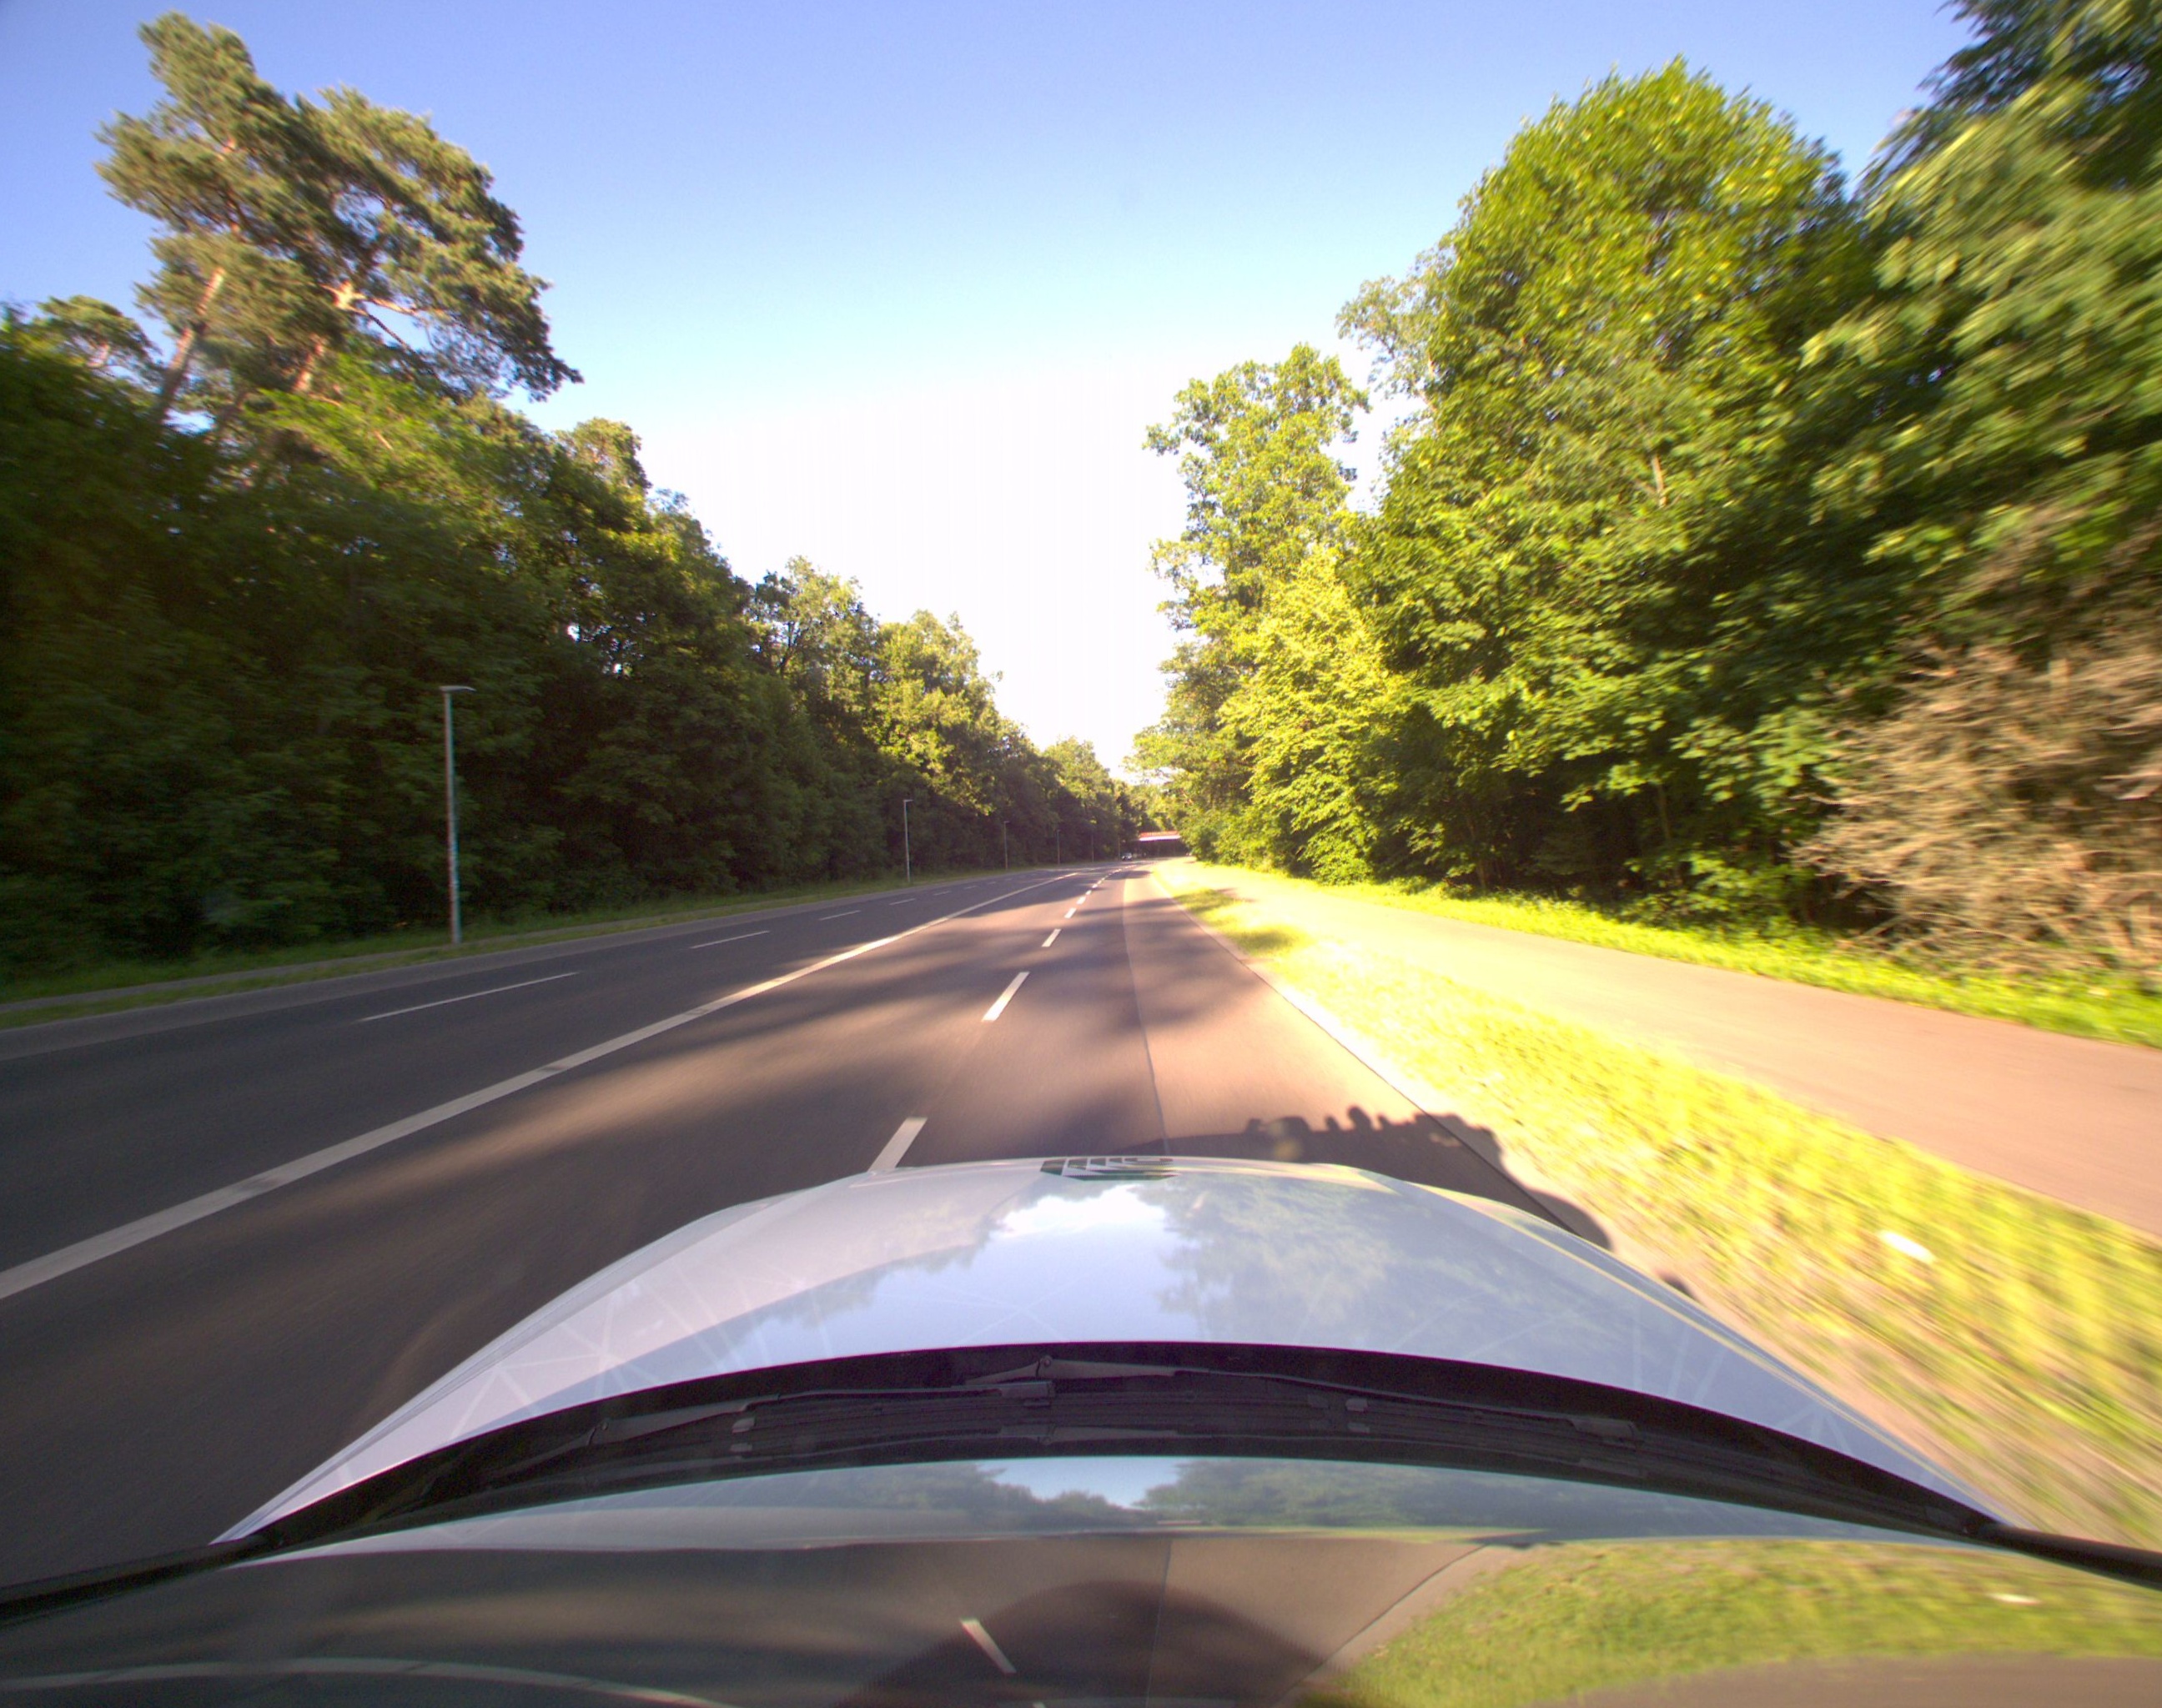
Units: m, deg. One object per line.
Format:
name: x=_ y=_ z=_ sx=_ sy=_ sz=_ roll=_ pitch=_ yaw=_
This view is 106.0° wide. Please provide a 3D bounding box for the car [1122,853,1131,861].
car: x=9.678 y=0.674 z=171.855 sx=1.799 sy=1.663 sz=4.528 roll=-1 pitch=0 yaw=5
